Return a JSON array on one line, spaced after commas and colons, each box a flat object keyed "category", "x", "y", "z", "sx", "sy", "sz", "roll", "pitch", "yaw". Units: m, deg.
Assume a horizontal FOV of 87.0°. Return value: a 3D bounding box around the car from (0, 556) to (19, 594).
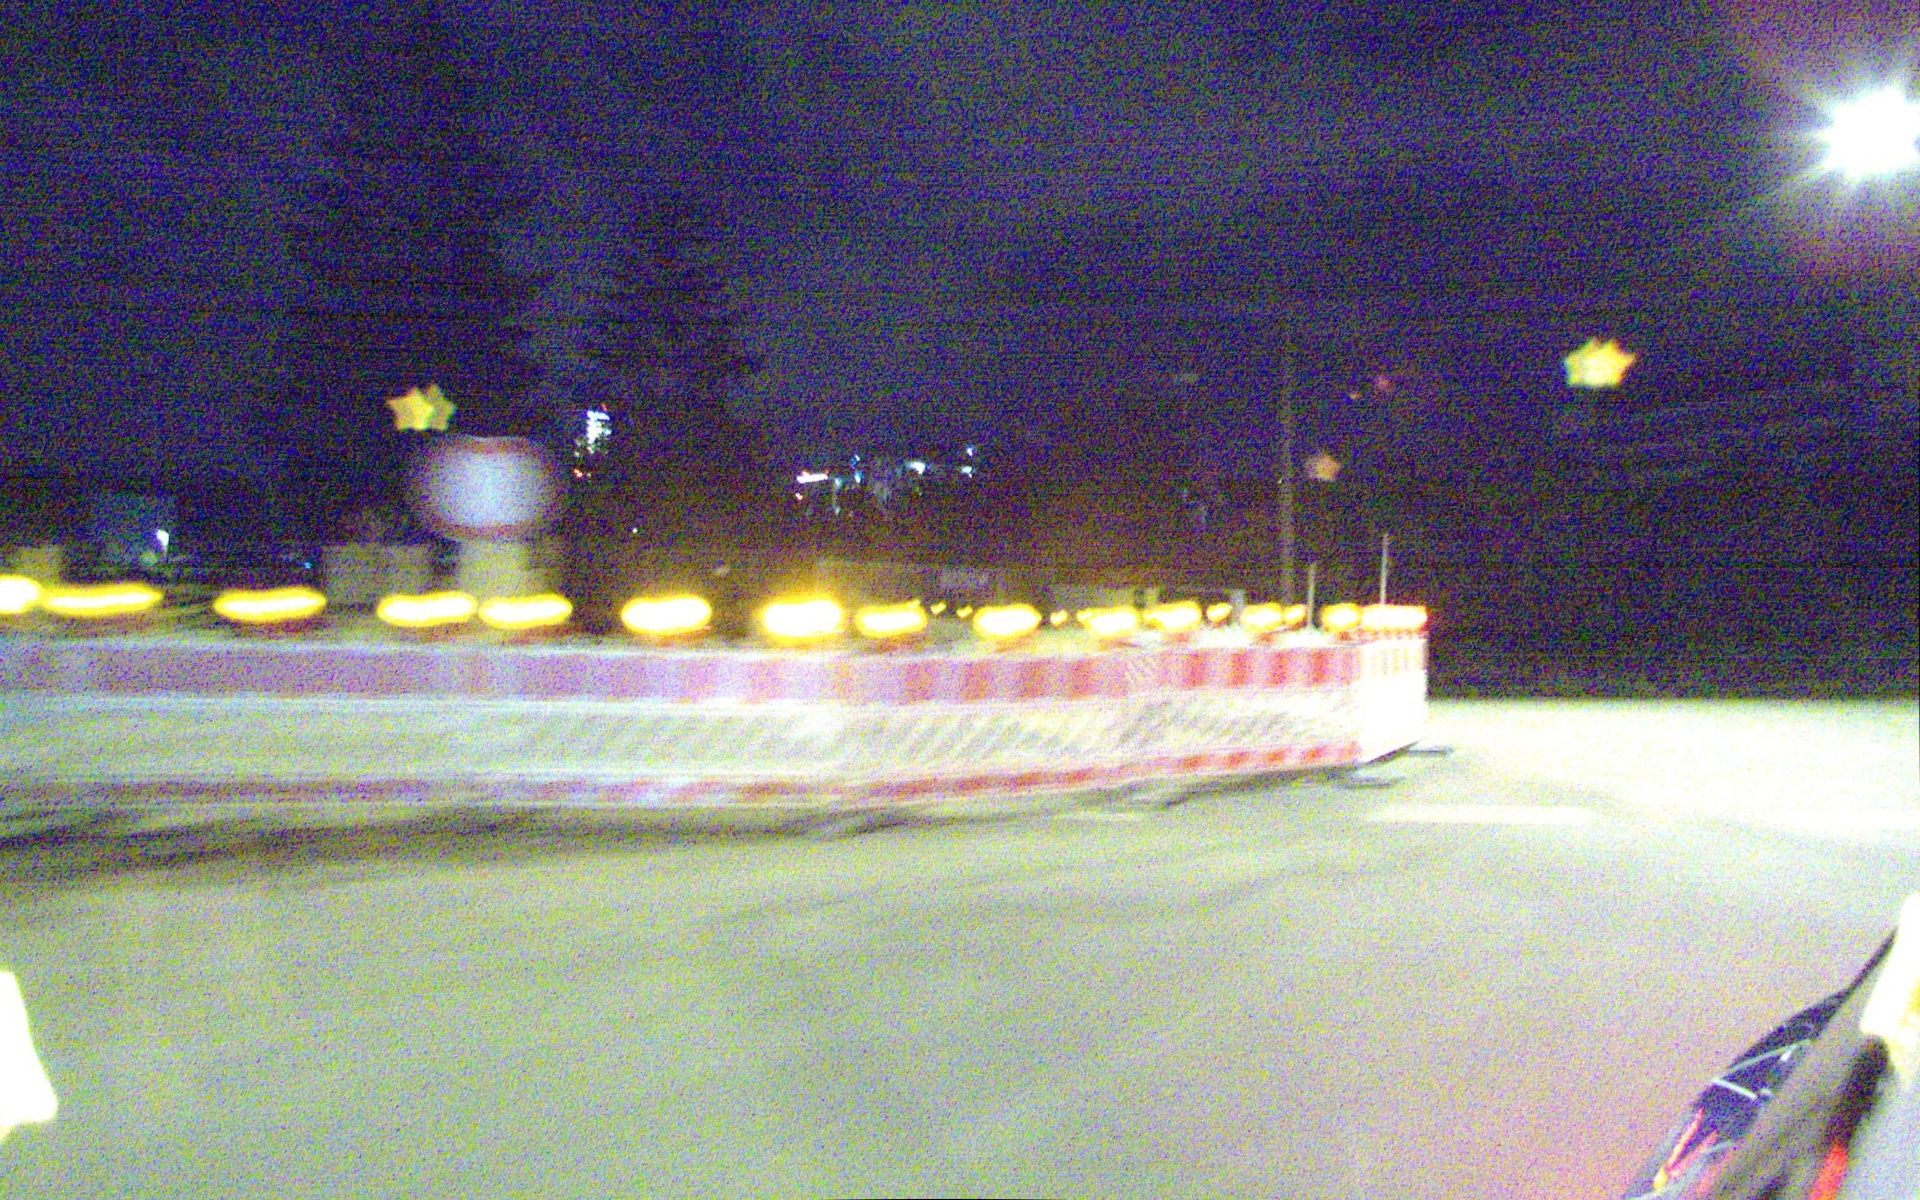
[{"category": "car", "x": -37.307, "y": -0.973, "z": 38.139, "sx": 1.961, "sy": 1.438, "sz": 4.002, "roll": 2, "pitch": -1, "yaw": -32}]
